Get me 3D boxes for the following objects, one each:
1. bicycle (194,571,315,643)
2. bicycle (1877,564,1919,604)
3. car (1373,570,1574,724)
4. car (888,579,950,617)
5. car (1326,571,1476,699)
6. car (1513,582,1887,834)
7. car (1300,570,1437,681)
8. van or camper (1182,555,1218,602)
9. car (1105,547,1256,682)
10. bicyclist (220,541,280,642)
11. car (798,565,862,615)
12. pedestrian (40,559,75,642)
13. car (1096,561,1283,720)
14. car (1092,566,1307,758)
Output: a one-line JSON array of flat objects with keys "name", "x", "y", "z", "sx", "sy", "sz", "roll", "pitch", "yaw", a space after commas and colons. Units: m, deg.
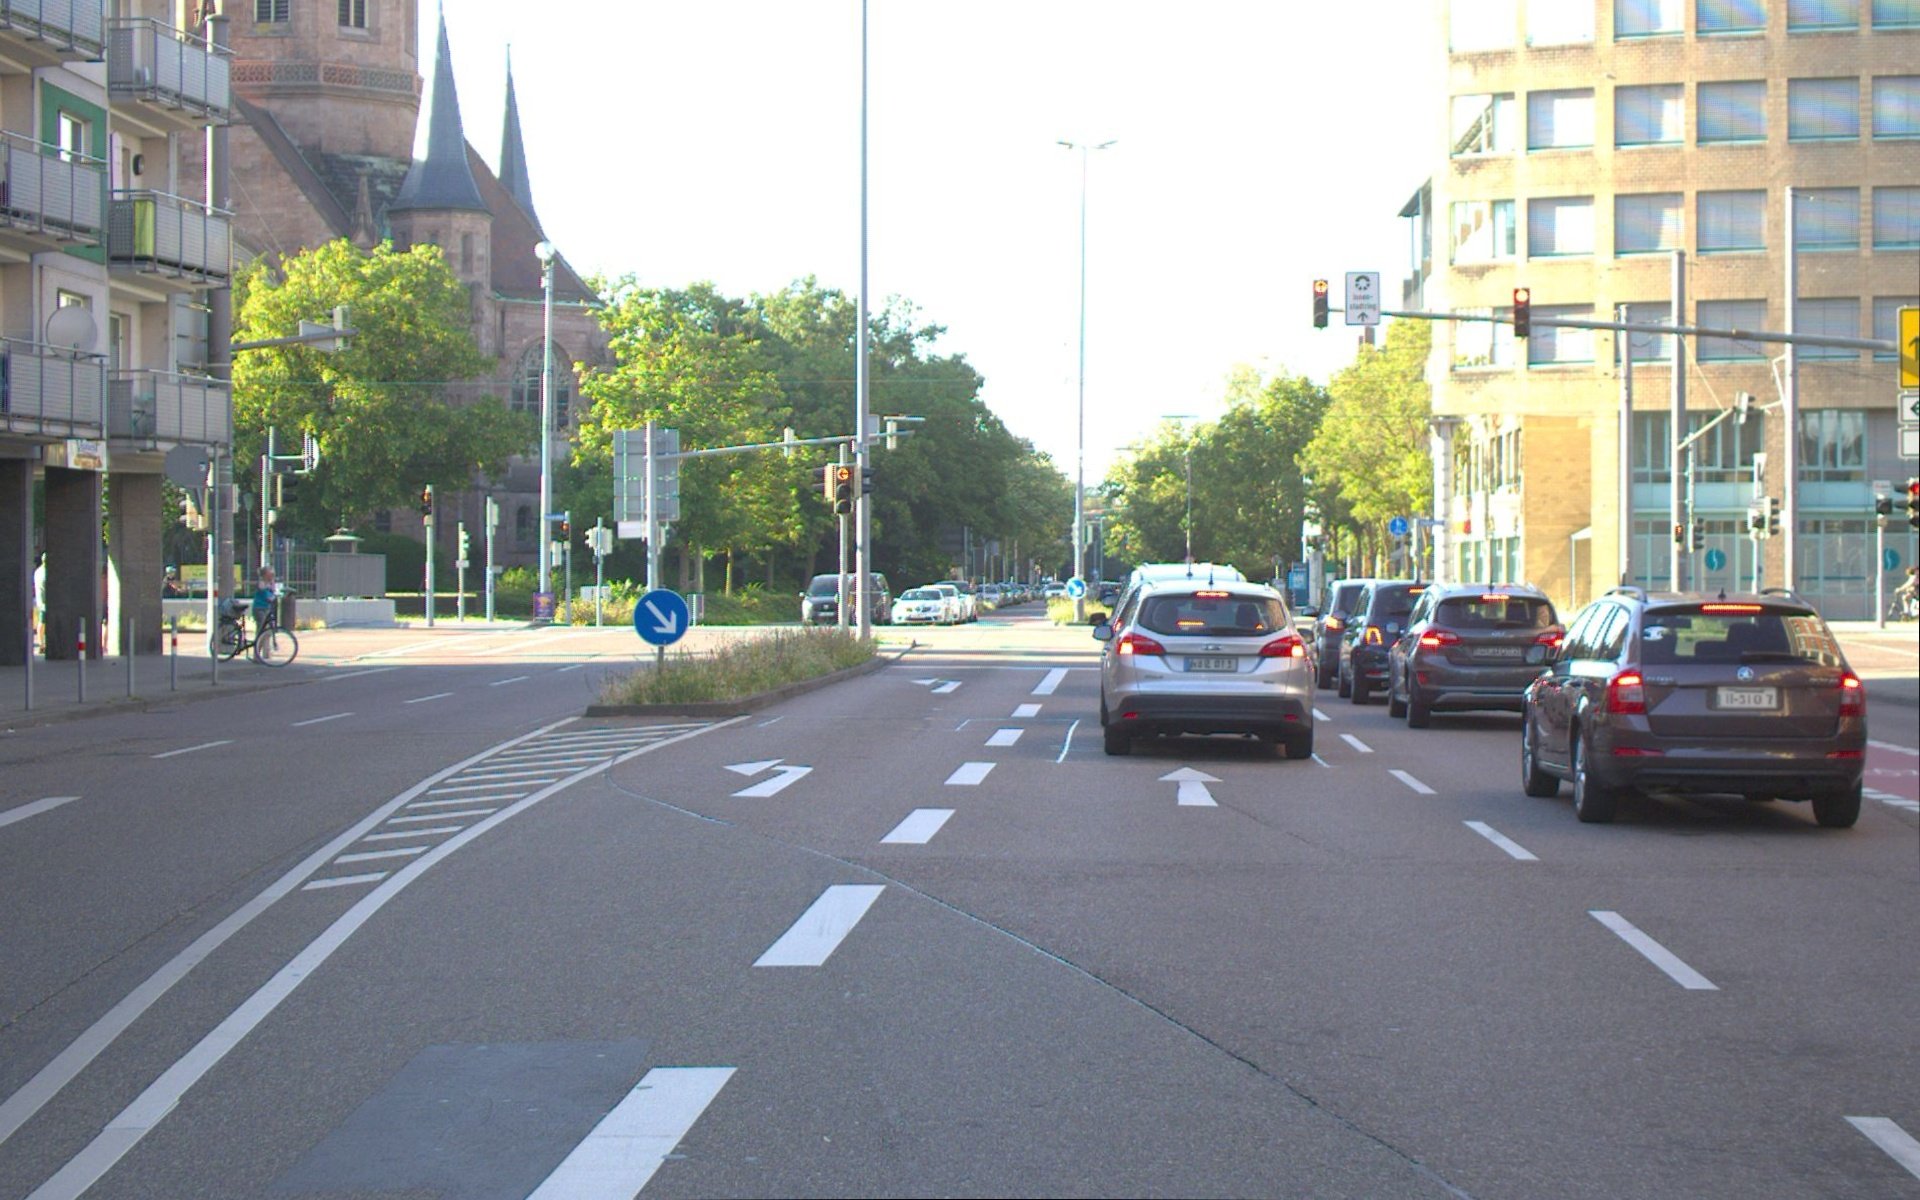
[{"name": "bicycle", "x": -11.602, "y": 0.110, "z": 56.561, "sx": 1.827, "sy": 1.184, "sz": 0.734, "roll": 0, "pitch": 1, "yaw": 2}, {"name": "bicycle", "x": 27.757, "y": -0.467, "z": 101.069, "sx": 1.520, "sy": 1.168, "sz": 0.475, "roll": 0, "pitch": 1, "yaw": 10}, {"name": "car", "x": 5.356, "y": 0.444, "z": 36.267, "sx": 1.650, "sy": 1.479, "sz": 4.239, "roll": 1, "pitch": 1, "yaw": 3}, {"name": "car", "x": -1.359, "y": -0.078, "z": 114.736, "sx": 1.780, "sy": 1.232, "sz": 4.000, "roll": 0, "pitch": 1, "yaw": 3}, {"name": "car", "x": 5.377, "y": 0.400, "z": 42.243, "sx": 1.489, "sy": 1.500, "sz": 3.479, "roll": 0, "pitch": 1, "yaw": 2}, {"name": "car", "x": 4.687, "y": 0.625, "z": 22.311, "sx": 1.707, "sy": 1.452, "sz": 4.158, "roll": 0, "pitch": 1, "yaw": 3}, {"name": "car", "x": 5.640, "y": 0.324, "z": 47.800, "sx": 1.585, "sy": 1.442, "sz": 3.647, "roll": 2, "pitch": 1, "yaw": 3}, {"name": "van or camper", "x": 13.566, "y": -1.224, "z": 193.759, "sx": 1.994, "sy": 2.631, "sz": 5.349, "roll": 0, "pitch": 1, "yaw": 4}, {"name": "car", "x": 2.756, "y": 0.141, "z": 43.776, "sx": 1.784, "sy": 1.627, "sz": 4.478, "roll": 0, "pitch": 1, "yaw": 2}, {"name": "bicyclist", "x": -11.796, "y": -0.146, "z": 57.120, "sx": 0.782, "sy": 1.654, "sz": 0.900, "roll": 0, "pitch": 1, "yaw": 2}, {"name": "car", "x": -4.358, "y": -0.342, "z": 115.454, "sx": 1.780, "sy": 1.641, "sz": 4.000, "roll": 0, "pitch": 1, "yaw": 3}, {"name": "pedestrian", "x": -16.573, "y": 0.005, "z": 63.121, "sx": 0.468, "sy": 1.525, "sz": 0.576, "roll": 0, "pitch": 0, "yaw": 2}, {"name": "car", "x": 2.340, "y": 0.384, "z": 35.770, "sx": 1.803, "sy": 1.563, "sz": 3.618, "roll": 0, "pitch": 1, "yaw": 2}, {"name": "car", "x": 2.041, "y": 0.481, "z": 29.990, "sx": 1.707, "sy": 1.504, "sz": 4.309, "roll": 1, "pitch": 1, "yaw": 3}]
